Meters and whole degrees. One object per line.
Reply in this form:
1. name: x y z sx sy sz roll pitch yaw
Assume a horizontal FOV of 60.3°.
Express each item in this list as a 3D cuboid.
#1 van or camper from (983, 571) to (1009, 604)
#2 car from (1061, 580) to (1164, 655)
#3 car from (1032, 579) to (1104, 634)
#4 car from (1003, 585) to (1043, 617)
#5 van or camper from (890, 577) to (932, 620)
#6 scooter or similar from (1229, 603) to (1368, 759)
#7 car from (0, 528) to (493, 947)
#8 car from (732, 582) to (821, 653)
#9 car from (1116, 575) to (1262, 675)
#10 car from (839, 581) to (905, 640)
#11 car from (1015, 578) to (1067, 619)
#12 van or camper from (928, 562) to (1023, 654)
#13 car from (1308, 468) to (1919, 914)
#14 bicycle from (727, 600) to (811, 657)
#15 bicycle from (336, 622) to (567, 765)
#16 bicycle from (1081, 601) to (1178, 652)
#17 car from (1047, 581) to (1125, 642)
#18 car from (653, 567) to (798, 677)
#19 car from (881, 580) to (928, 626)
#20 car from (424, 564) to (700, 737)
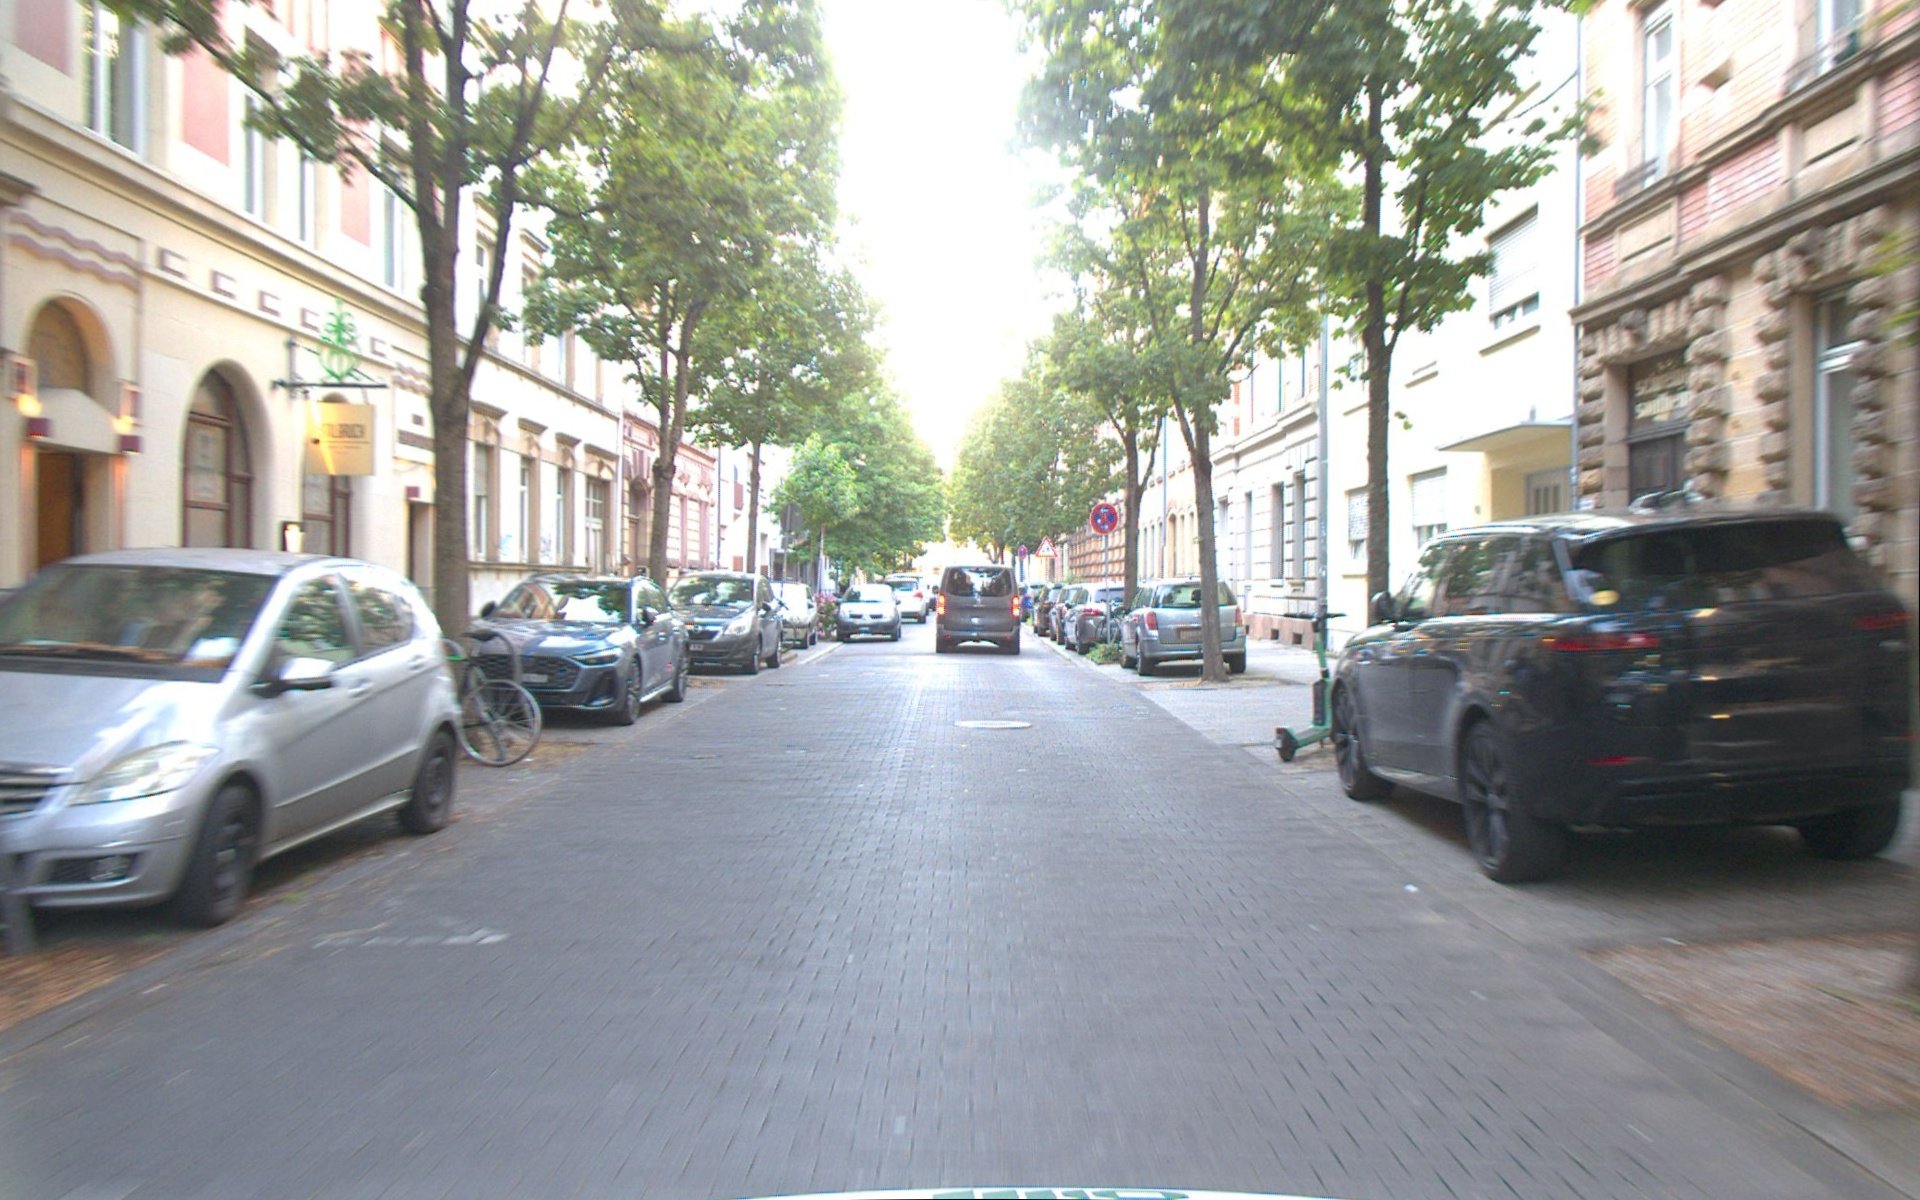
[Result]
1. van or camper: 2.968 -1.039 138.394 1.953 2.644 5.423 0 0 -1
2. car: 3.267 0.332 36.174 1.682 1.502 4.367 -2 1 -2
3. car: 3.013 0.157 47.033 1.730 1.439 4.474 -2 0 0
4. car: 2.982 0.024 79.137 1.659 1.426 4.645 -1 0 -1
5. van or camper: -2.220 -0.082 75.468 1.839 1.875 4.751 0 1 -2
6. scooter or similar: 2.828 0.657 13.784 0.663 1.211 1.110 -3 0 39
7. car: -3.821 0.513 8.462 1.641 1.635 3.862 1 1 2
8. car: -4.032 0.358 36.801 1.555 1.462 3.565 2 0 -1
9. car: 3.637 0.346 26.961 1.723 1.488 4.307 -1 1 -1
10. car: -2.259 0.245 43.048 1.548 1.445 3.753 0 0 -1
11. car: 3.012 -0.067 61.921 1.595 1.492 4.244 0 0 -2
12. van or camper: 0.388 0.158 36.967 1.993 1.930 4.272 0 0 2
13. car: 3.540 0.360 9.558 1.972 1.865 4.810 -2 1 0
14. bicycle: -3.871 0.574 33.406 1.796 1.104 0.664 0 -1 43
15. bicycle: -4.021 0.733 13.119 1.649 1.021 0.430 3 0 1
16. bicycle: 3.411 0.524 33.276 1.888 0.999 0.634 0 0 -22
17. car: 3.132 0.271 41.782 1.602 1.449 3.563 -1 0 -1
18. car: -3.712 0.297 26.802 1.671 1.608 4.078 2 1 1
19. car: -2.046 0.086 60.207 1.630 1.590 3.997 0 0 -3
20. car: -4.020 0.447 17.537 1.769 1.544 4.685 2 0 0
